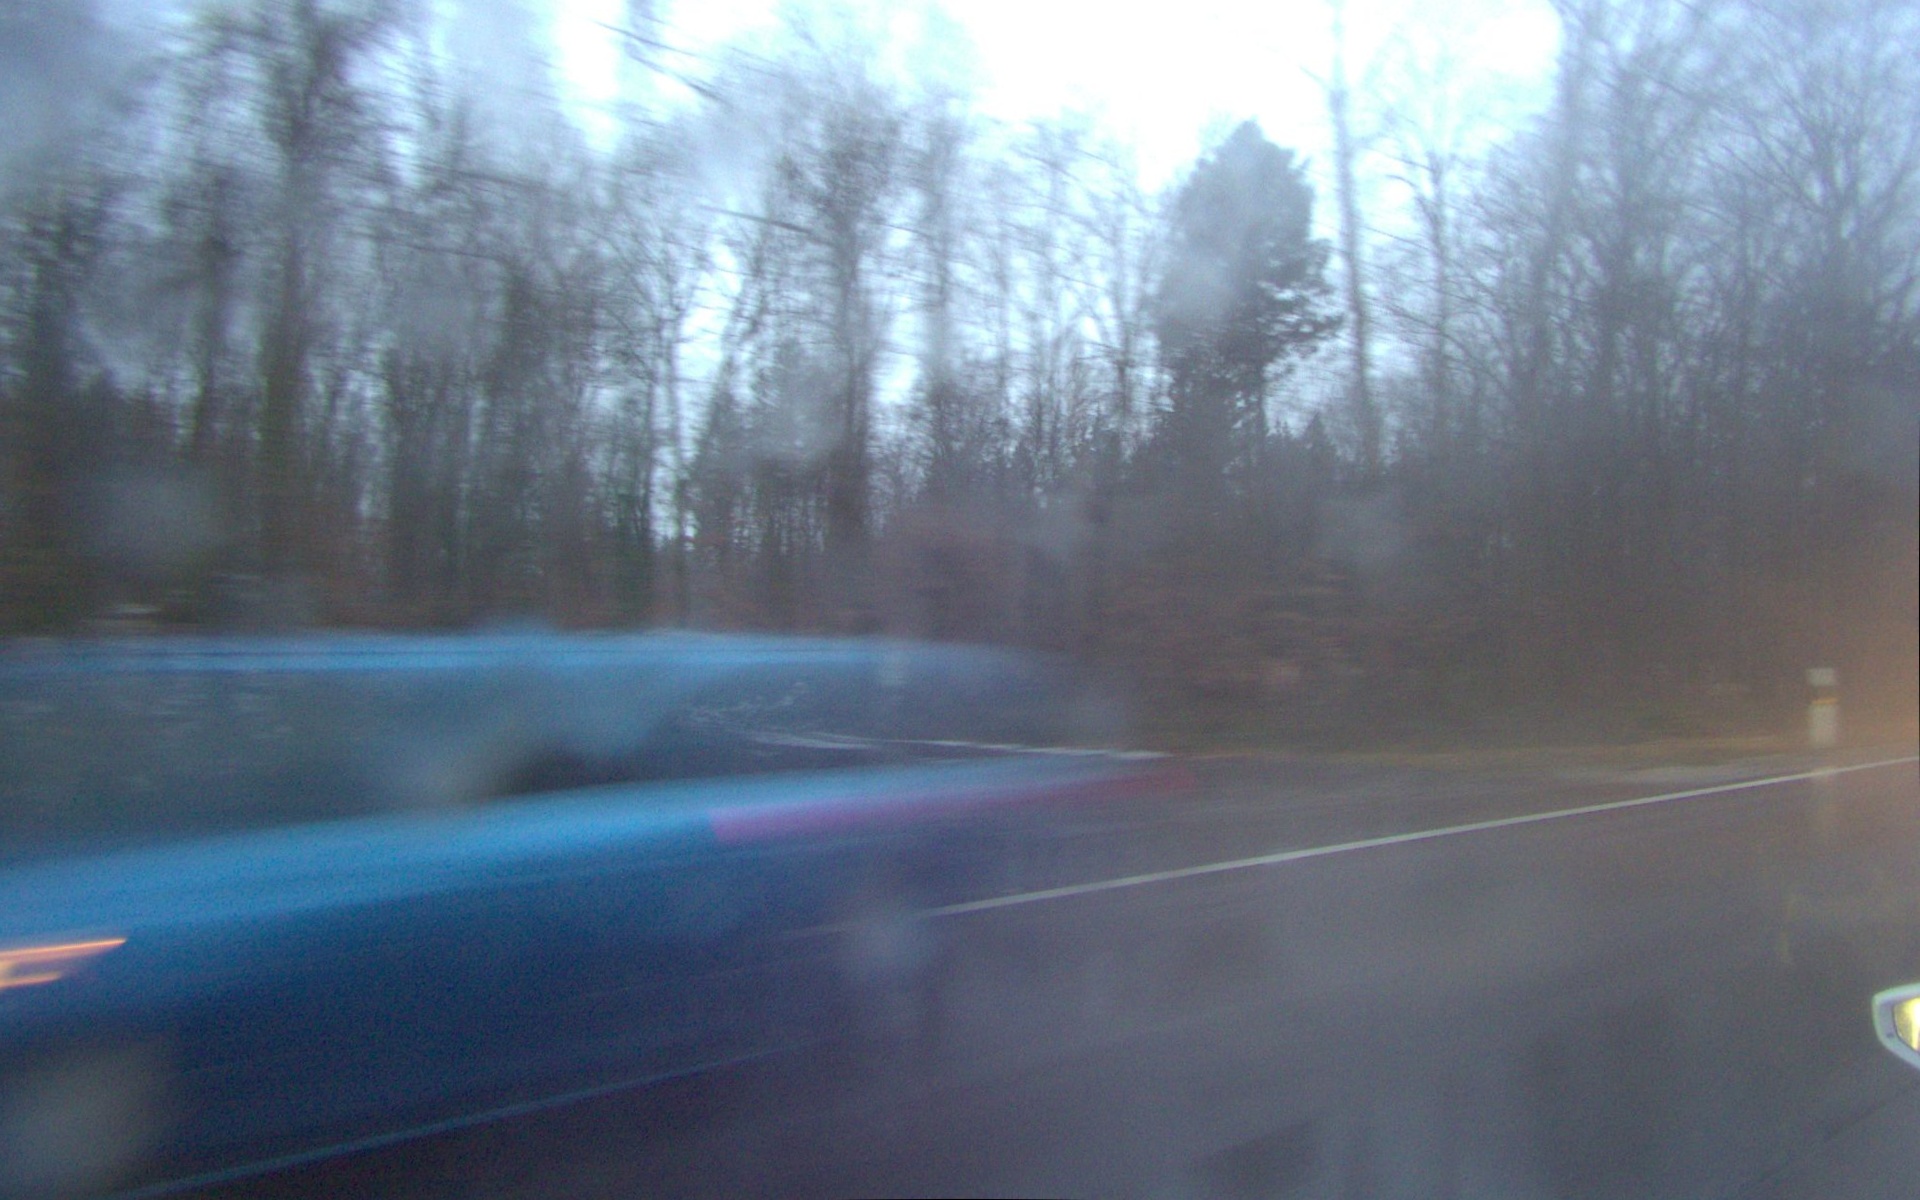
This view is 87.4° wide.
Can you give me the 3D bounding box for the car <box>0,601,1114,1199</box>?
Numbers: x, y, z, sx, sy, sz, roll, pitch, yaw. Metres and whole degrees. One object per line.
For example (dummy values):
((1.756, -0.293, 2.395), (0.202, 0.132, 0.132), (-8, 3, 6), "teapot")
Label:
((-1.475, 0.797, 3.207), (3.594, 1.477, 1.747), (1, -3, -30), "car")
